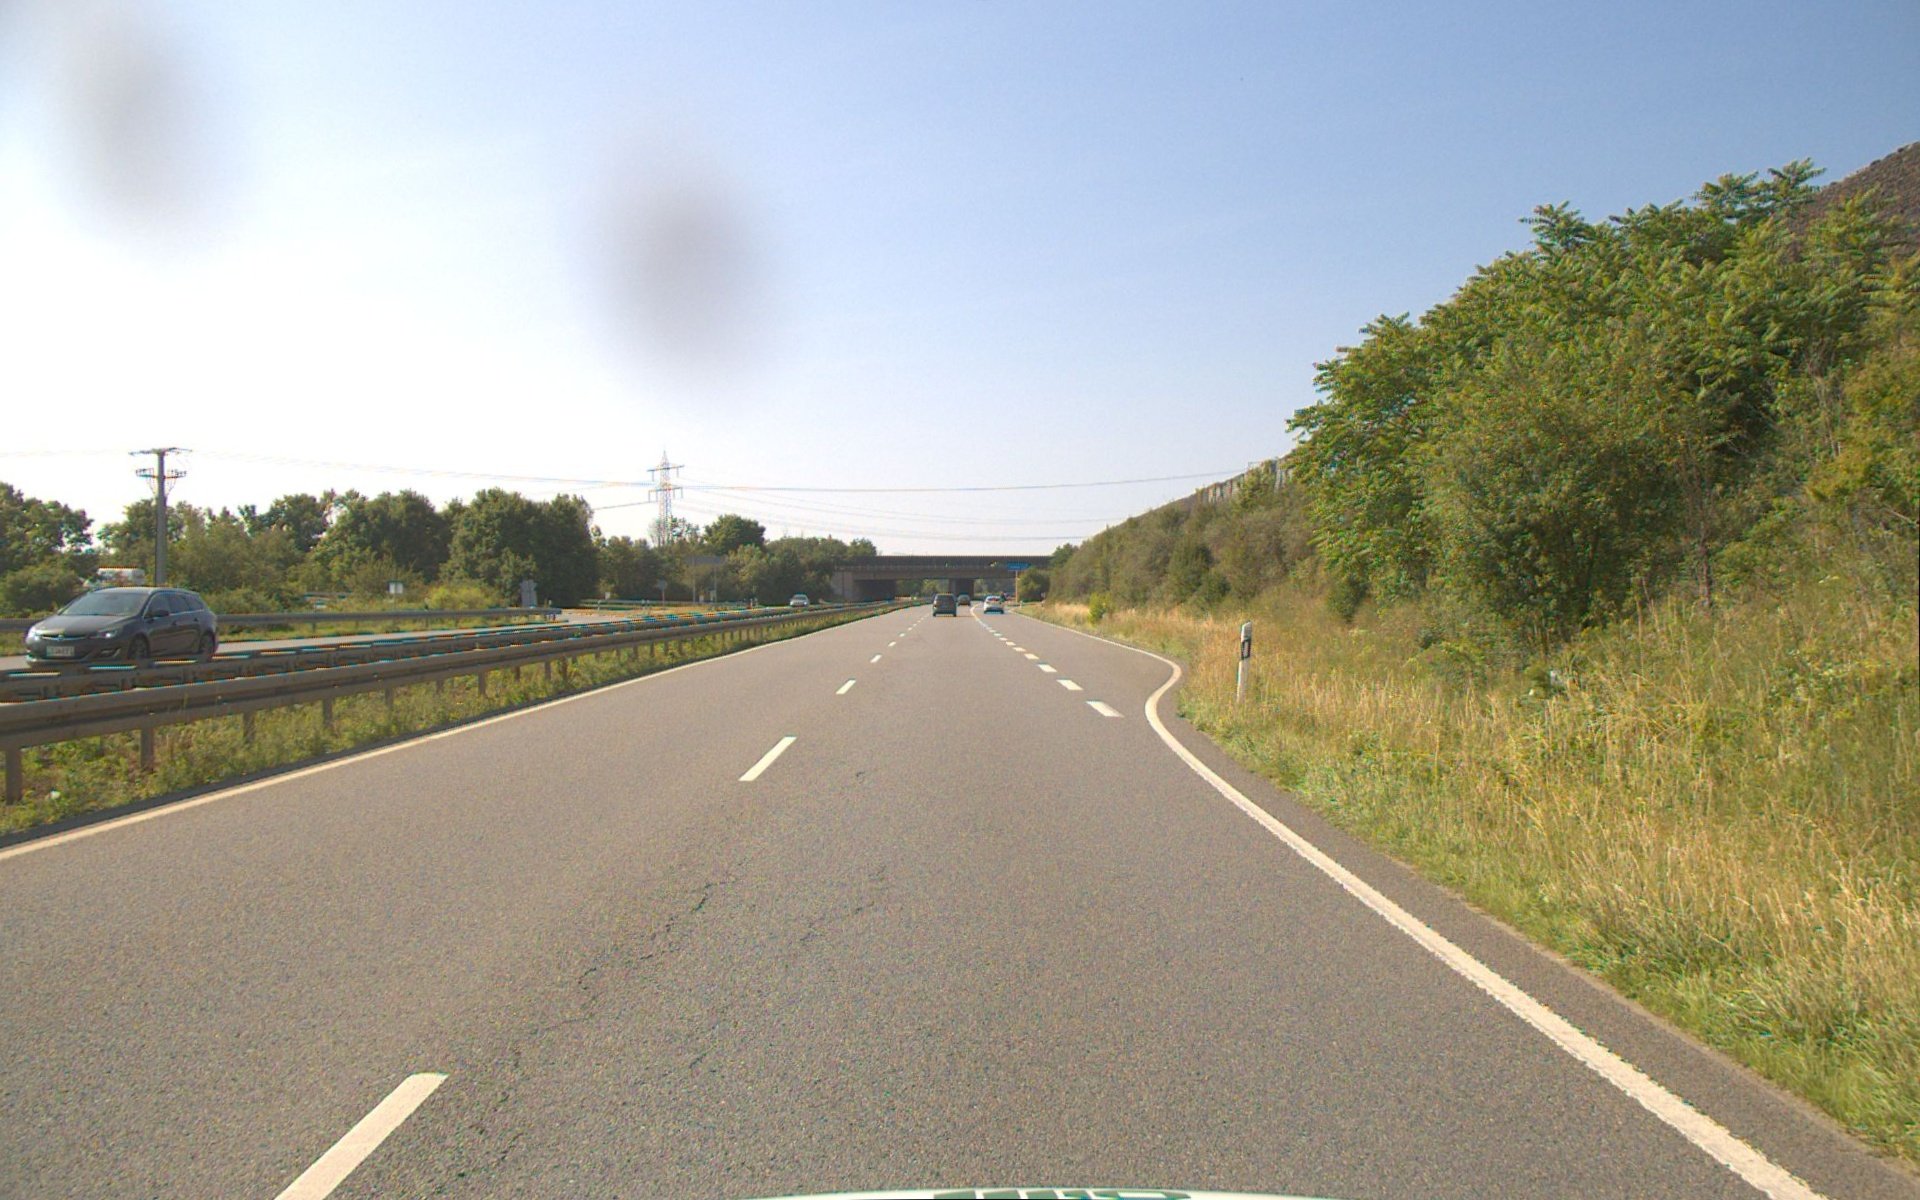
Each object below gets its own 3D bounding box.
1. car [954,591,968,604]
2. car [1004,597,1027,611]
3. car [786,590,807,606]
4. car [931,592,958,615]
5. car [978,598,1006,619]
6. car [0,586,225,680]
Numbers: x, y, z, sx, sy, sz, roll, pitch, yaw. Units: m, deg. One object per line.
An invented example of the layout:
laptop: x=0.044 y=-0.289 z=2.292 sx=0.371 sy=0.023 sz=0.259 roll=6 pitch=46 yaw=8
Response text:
car: x=0.149 y=-0.374 z=221.056 sx=1.811 sy=1.673 sz=4.001 roll=0 pitch=0 yaw=2
car: x=5.982 y=0.436 z=177.055 sx=1.861 sy=1.320 sz=4.003 roll=3 pitch=1 yaw=11
car: x=-16.449 y=-0.211 z=166.231 sx=1.666 sy=1.511 sz=4.619 roll=3 pitch=0 yaw=-1
car: x=-1.125 y=0.260 z=122.636 sx=1.811 sy=1.673 sz=4.001 roll=0 pitch=0 yaw=2
car: x=2.773 y=0.682 z=142.229 sx=1.758 sy=1.694 sz=4.003 roll=2 pitch=1 yaw=10
car: x=-15.017 y=0.518 z=29.362 sx=1.830 sy=1.459 sz=4.933 roll=2 pitch=0 yaw=-2
